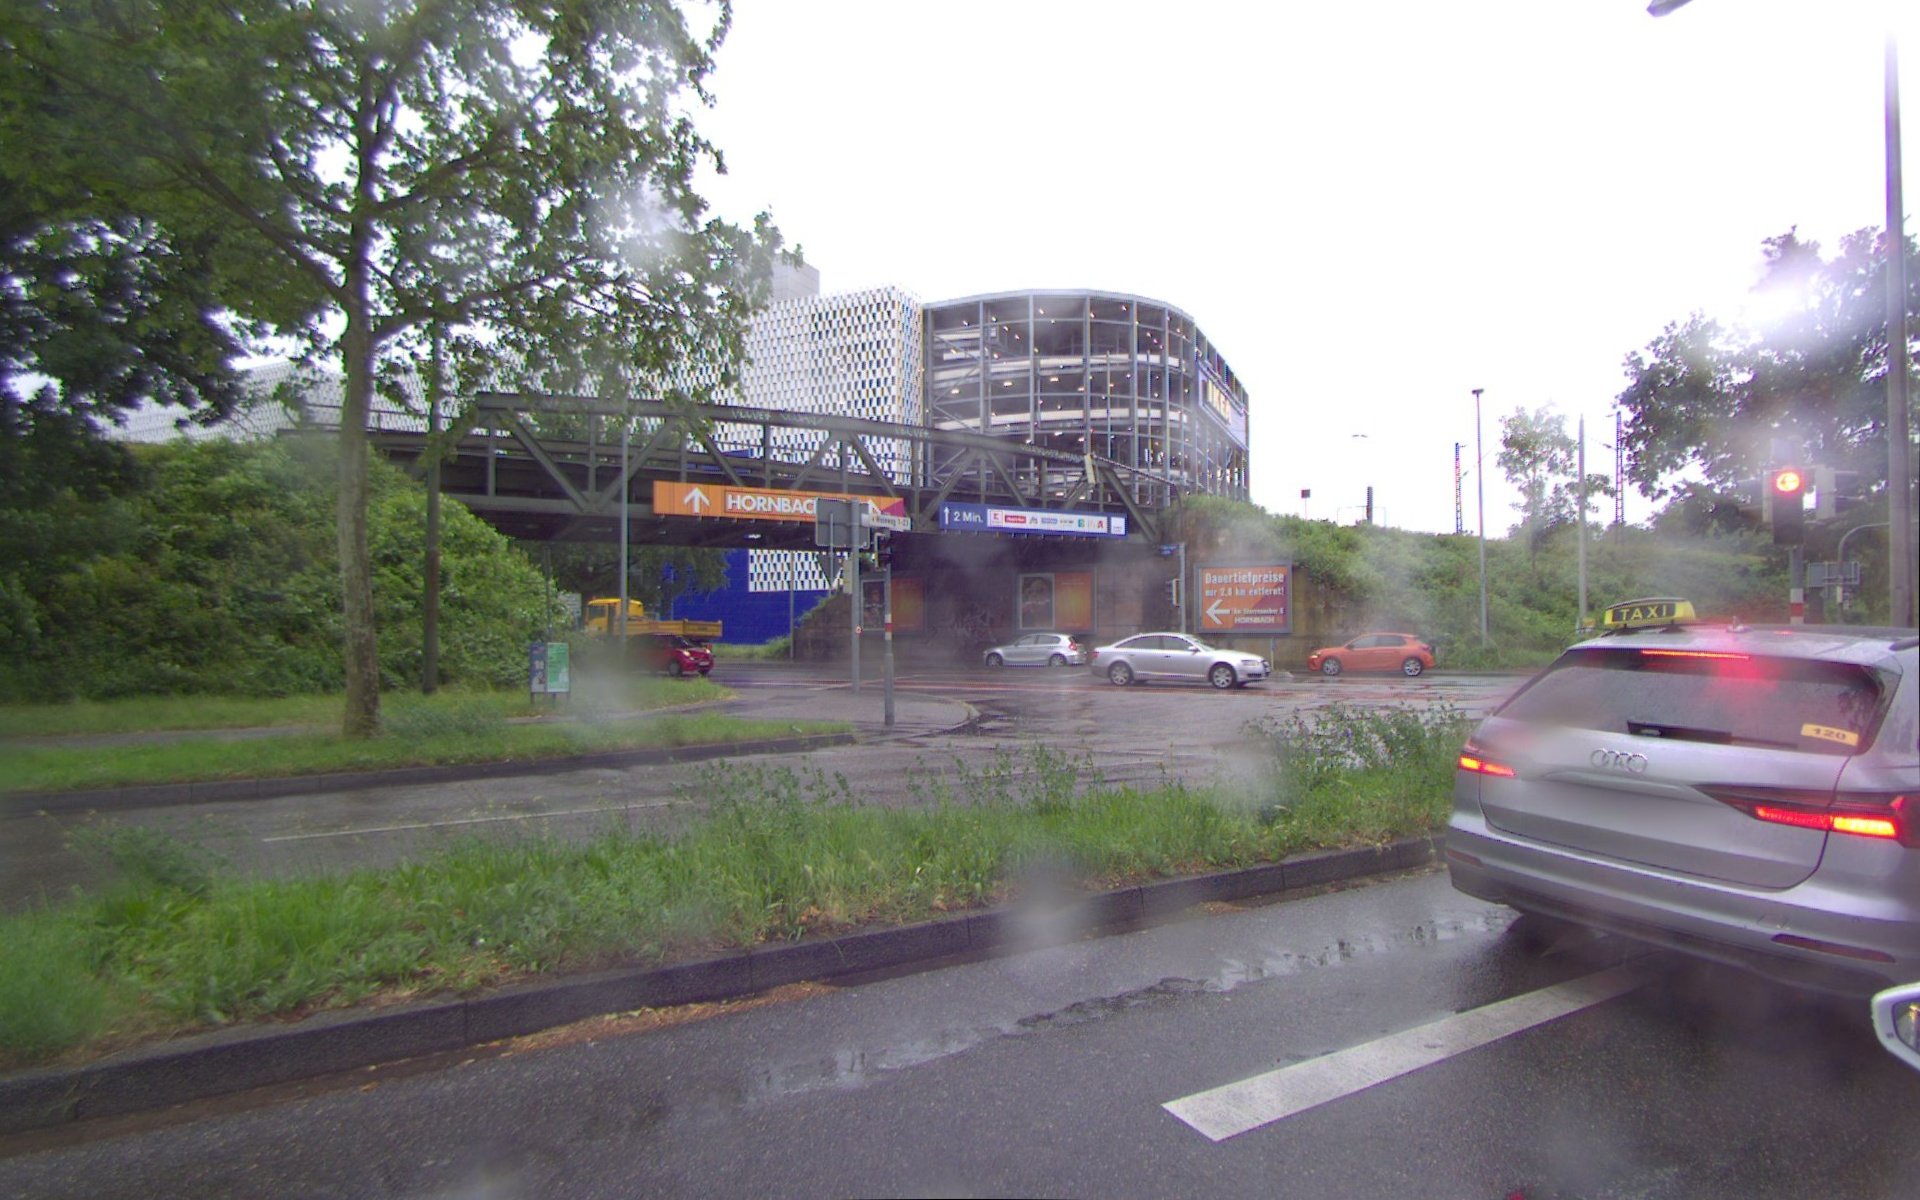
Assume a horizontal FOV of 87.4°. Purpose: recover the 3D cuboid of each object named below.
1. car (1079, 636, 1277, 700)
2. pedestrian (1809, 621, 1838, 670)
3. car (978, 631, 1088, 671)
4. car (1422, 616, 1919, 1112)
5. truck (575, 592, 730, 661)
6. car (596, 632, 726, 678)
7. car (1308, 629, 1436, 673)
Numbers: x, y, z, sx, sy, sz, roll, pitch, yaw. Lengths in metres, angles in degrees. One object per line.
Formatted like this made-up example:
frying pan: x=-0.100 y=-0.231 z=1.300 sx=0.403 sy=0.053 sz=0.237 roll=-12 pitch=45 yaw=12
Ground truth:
car: x=5.937 y=1.791 z=27.523 sx=4.964 sy=1.553 sz=1.997 roll=0 pitch=-1 yaw=29
pedestrian: x=32.423 y=1.694 z=37.720 sx=0.661 sy=1.809 sz=0.533 roll=2 pitch=0 yaw=-12
car: x=2.862 y=1.975 z=39.368 sx=3.924 sy=1.505 sz=1.818 roll=-1 pitch=-2 yaw=24
car: x=4.381 y=0.835 z=4.804 sx=4.521 sy=1.452 sz=1.682 roll=1 pitch=-1 yaw=-30
truck: x=-14.582 y=1.248 z=47.605 sx=6.914 sy=3.094 sz=2.646 roll=-1 pitch=-2 yaw=23
car: x=-10.954 y=1.969 z=36.800 sx=4.484 sy=1.545 sz=1.888 roll=0 pitch=-1 yaw=27
car: x=13.936 y=1.703 z=34.082 sx=3.923 sy=1.448 sz=1.717 roll=-1 pitch=-2 yaw=23
